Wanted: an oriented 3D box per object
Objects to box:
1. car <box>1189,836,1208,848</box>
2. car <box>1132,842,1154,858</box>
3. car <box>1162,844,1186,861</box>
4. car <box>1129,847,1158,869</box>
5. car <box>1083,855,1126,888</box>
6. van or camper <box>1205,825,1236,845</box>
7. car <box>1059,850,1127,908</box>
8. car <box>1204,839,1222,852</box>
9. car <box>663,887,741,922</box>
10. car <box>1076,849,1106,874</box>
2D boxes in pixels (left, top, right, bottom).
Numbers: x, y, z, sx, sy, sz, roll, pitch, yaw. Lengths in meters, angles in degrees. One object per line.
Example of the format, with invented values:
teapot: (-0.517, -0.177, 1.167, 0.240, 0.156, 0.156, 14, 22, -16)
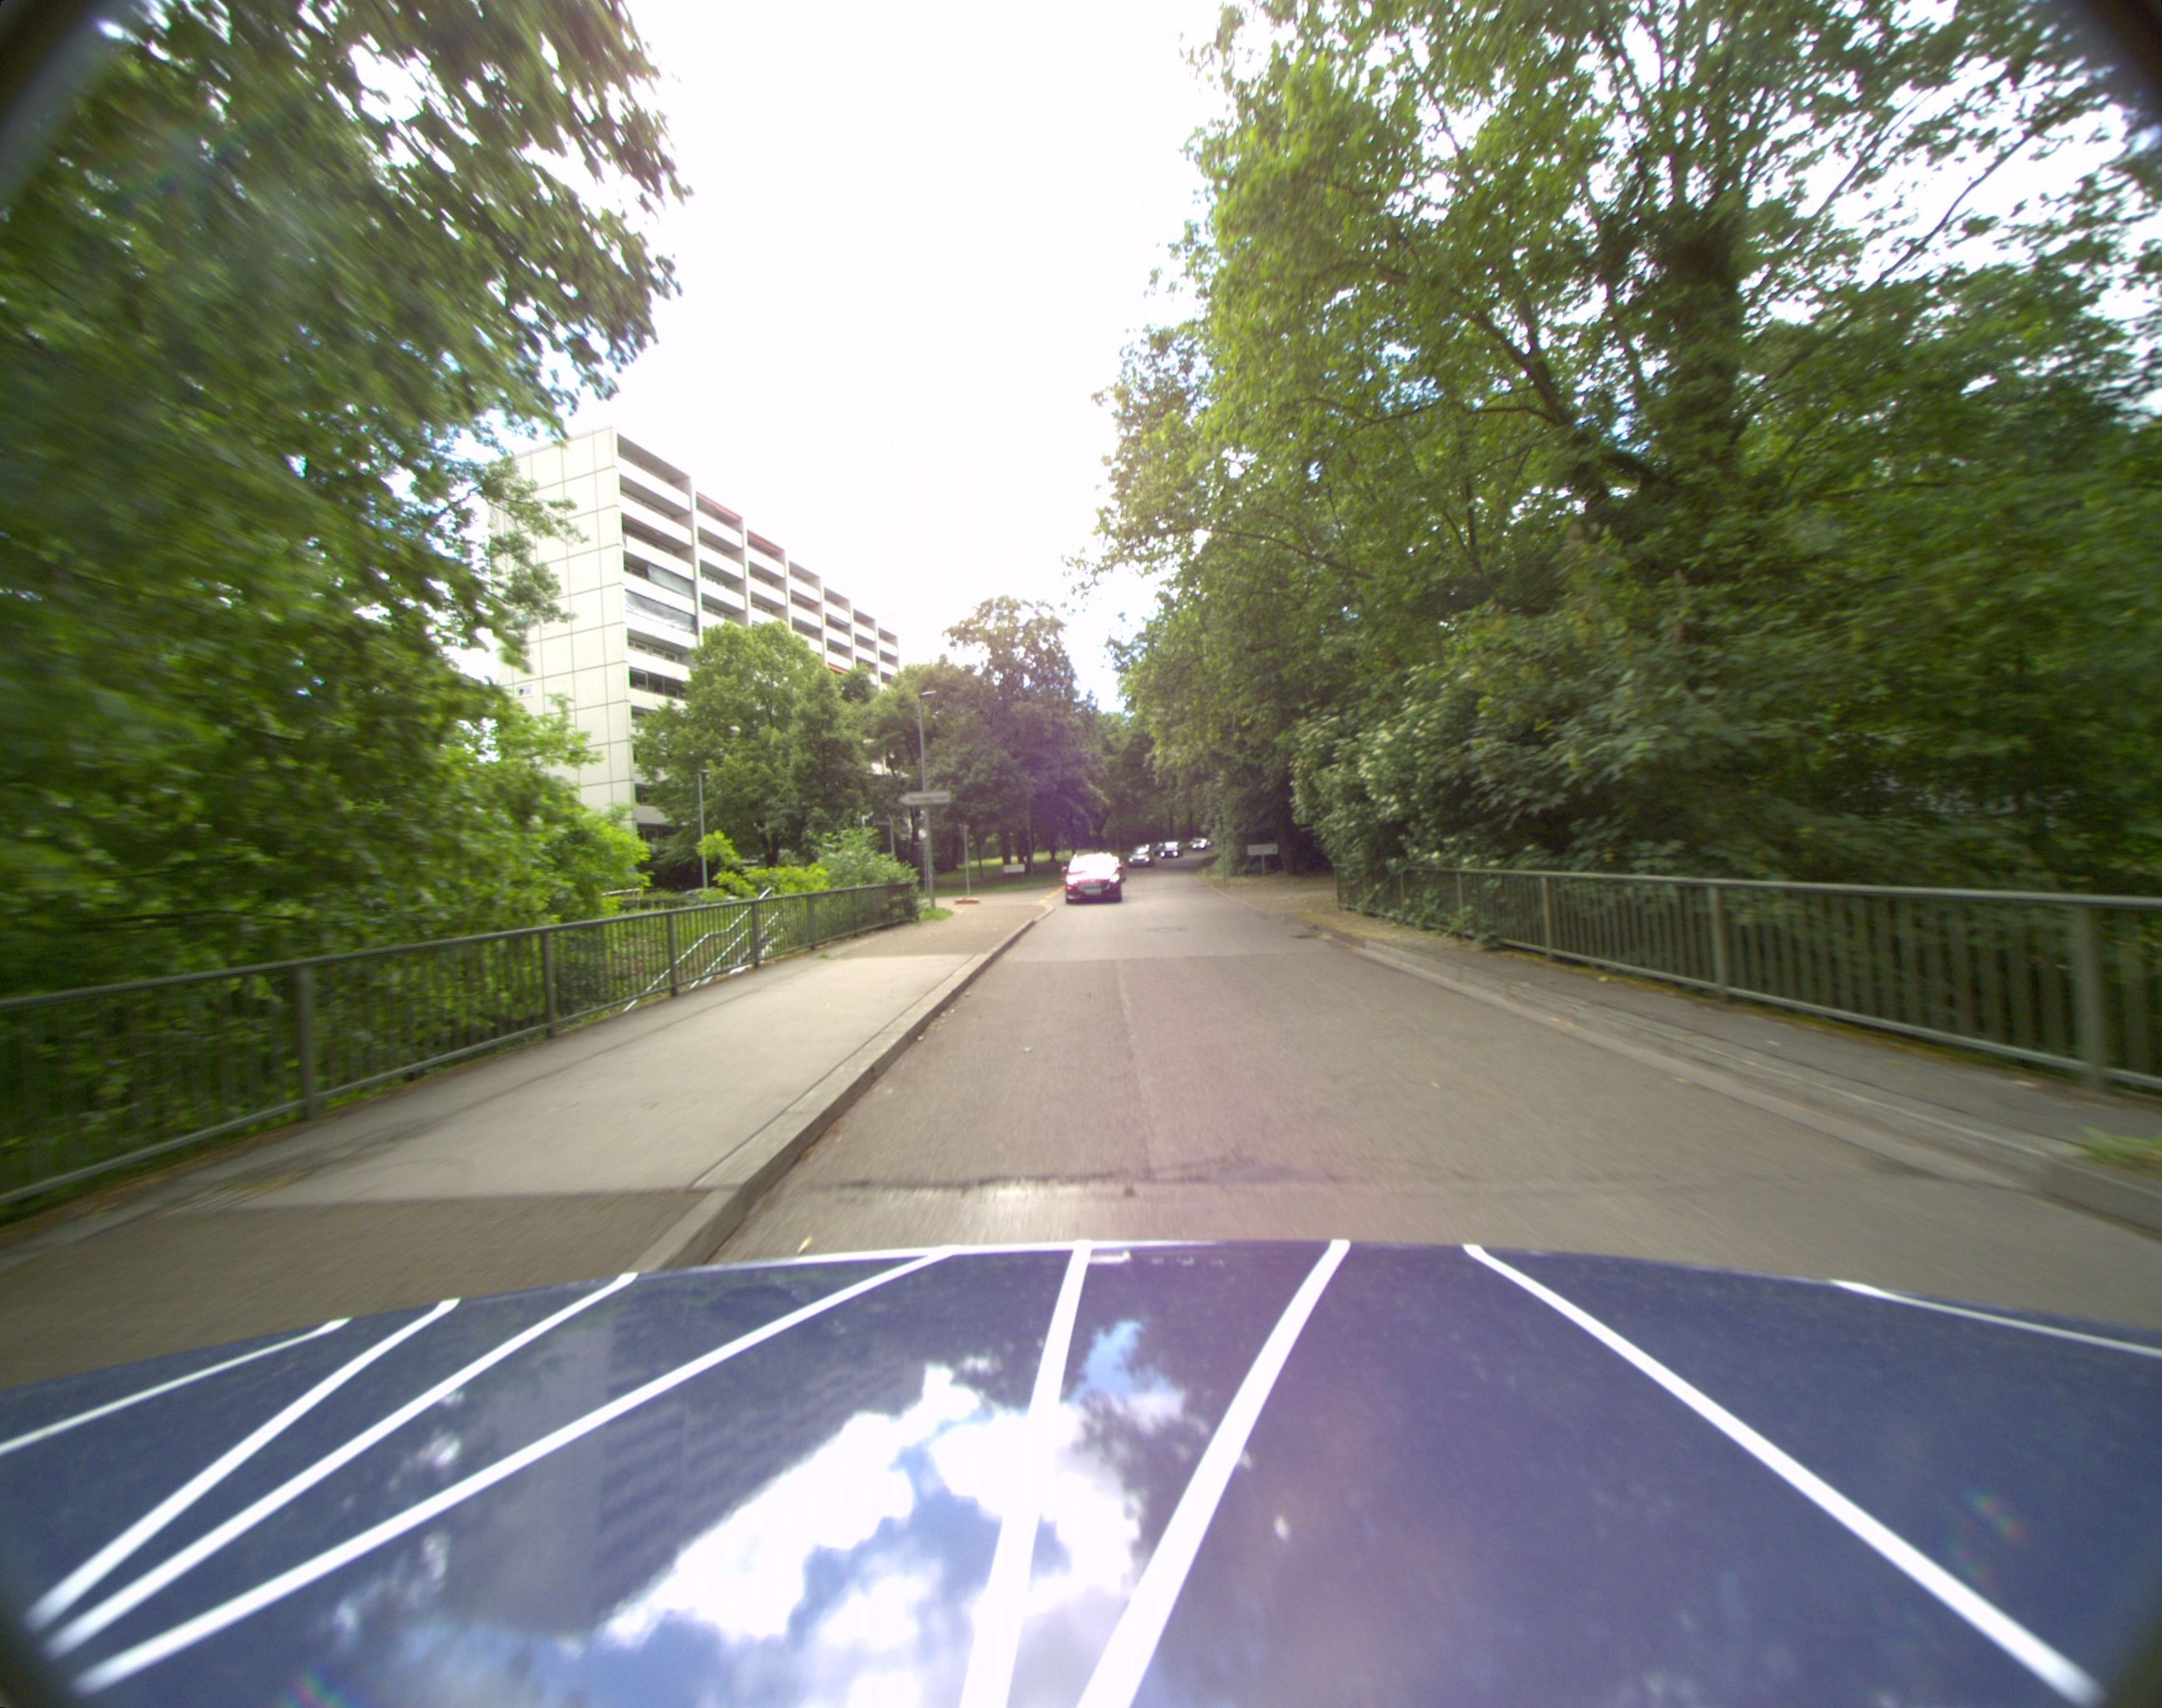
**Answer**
car: (17.169, -1.768, 110.834, 1.690, 1.474, 4.112, -3, 1, 23)
car: (6.817, -0.455, 83.063, 1.684, 1.456, 3.901, -3, 1, 15)
car: (9.856, -0.187, 80.257, 1.766, 1.559, 4.049, -3, 1, 16)
car: (5.207, 0.330, 63.090, 1.653, 1.559, 4.049, -4, 1, 14)
car: (1.373, 0.916, 41.844, 1.957, 1.464, 4.678, -4, 1, 6)
van or camper: (22.394, -3.043, 121.311, 2.426, 2.963, 7.404, -3, 1, 30)
car: (0.451, 0.764, 25.620, 2.003, 1.599, 4.677, -4, 1, 2)
car: (16.986, -1.093, 97.676, 1.766, 1.559, 4.049, -3, 1, 16)
car: (-20.615, 2.737, 41.333, 3.521, 1.561, 1.834, -4, 1, 22)
car: (0.745, 0.503, 54.416, 1.777, 1.514, 3.781, -4, 1, 6)
